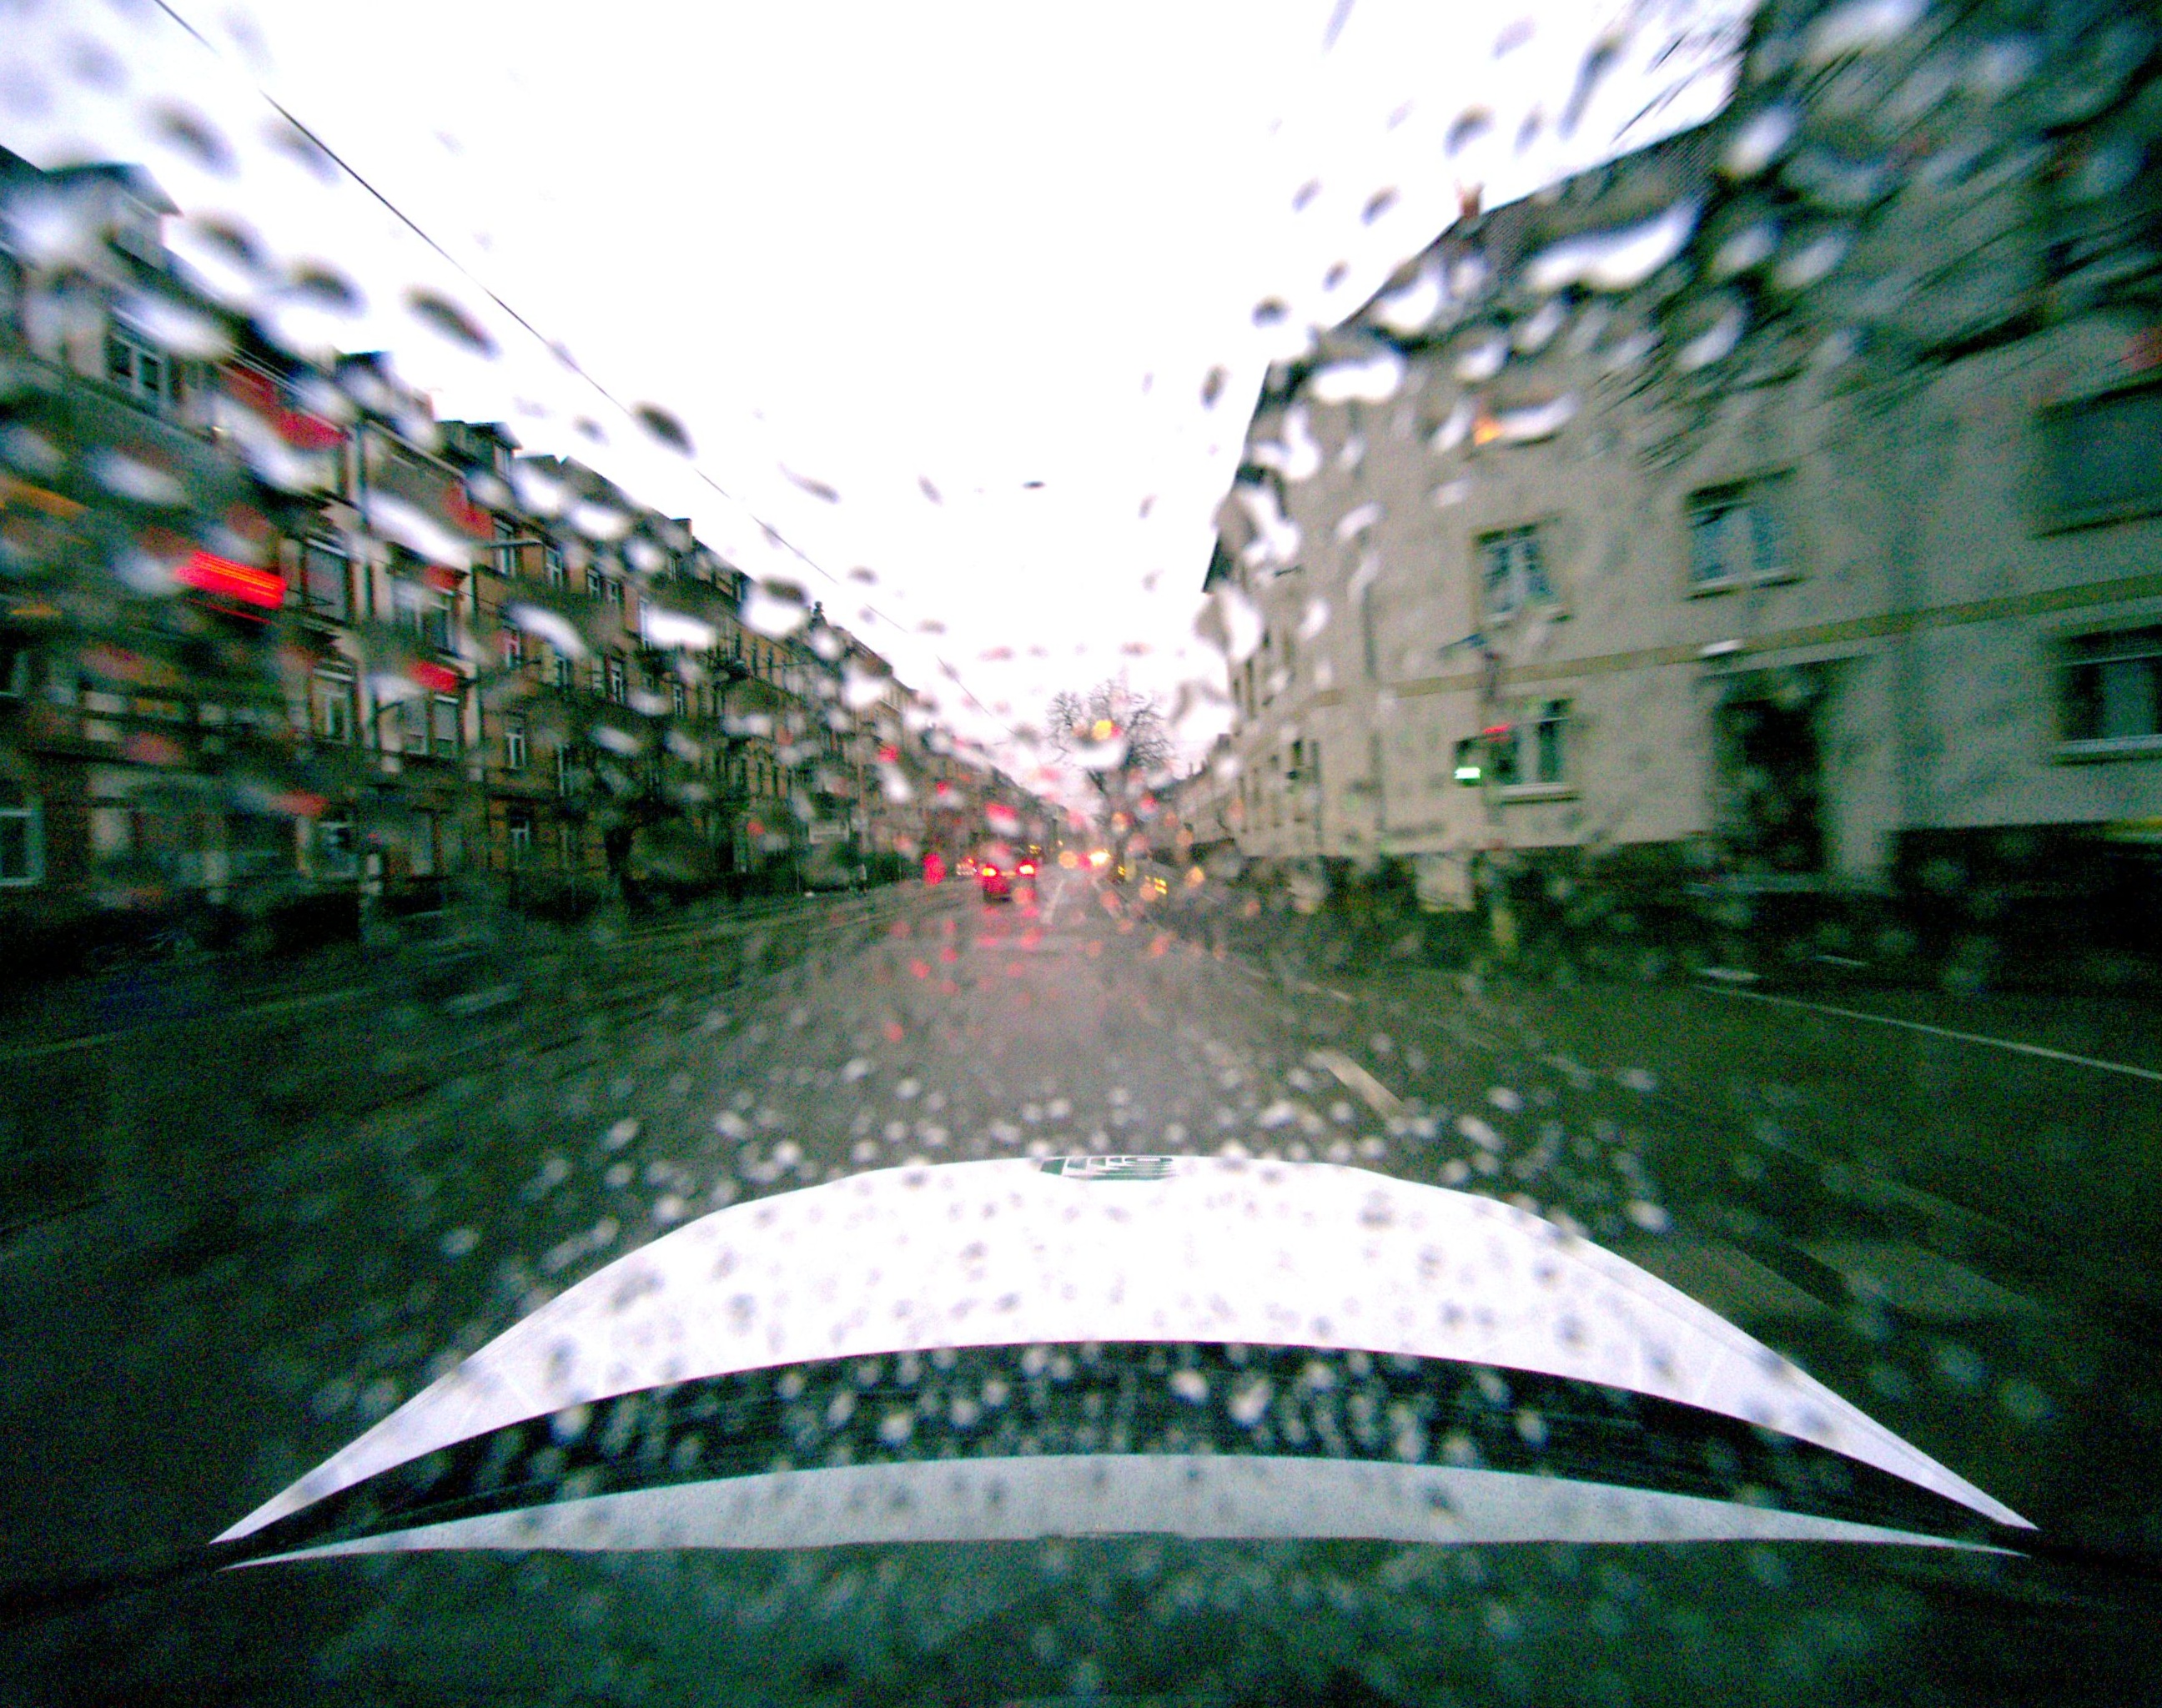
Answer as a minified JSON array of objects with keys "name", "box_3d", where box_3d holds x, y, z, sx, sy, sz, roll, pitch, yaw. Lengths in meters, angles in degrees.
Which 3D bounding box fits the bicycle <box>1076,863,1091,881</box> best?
[{"name":"bicycle","box_3d":[0.157,1.047,48.730,0.728,1.007,1.766,-3,0,4]}]

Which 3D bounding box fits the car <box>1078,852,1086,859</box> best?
[{"name":"car","box_3d":[0.185,0.364,230.091,1.916,1.720,4.003,-3,0,3]}]

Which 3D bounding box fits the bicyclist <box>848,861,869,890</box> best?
[{"name":"bicyclist","box_3d":[-11.070,1.065,40.608,0.701,1.364,0.945,-1,0,5]}]

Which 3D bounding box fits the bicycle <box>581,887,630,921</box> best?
[{"name":"bicycle","box_3d":[-15.975,1.677,27.399,0.414,1.007,1.851,-3,0,4]}]

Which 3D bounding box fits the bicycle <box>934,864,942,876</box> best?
[{"name":"bicycle","box_3d":[-12.399,1.374,70.425,0.262,0.915,1.687,3,0,3]}]

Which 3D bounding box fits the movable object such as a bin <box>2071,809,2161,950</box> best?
[{"name":"movable object such as a bin","box_3d":[9.729,0.224,7.423,0.525,1.251,0.844,0,0,-45]}]

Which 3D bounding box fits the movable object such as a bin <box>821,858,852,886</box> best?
[{"name":"movable object such as a bin","box_3d":[-14.320,1.038,47.798,1.237,1.585,1.310,-2,0,8]}]

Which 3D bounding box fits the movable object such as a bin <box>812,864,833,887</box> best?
[{"name":"movable object such as a bin","box_3d":[-14.861,1.230,46.879,0.892,1.292,0.746,-3,0,0]}]

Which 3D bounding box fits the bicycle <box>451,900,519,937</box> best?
[{"name":"bicycle","box_3d":[-16.486,1.778,22.583,0.398,0.862,1.851,-3,0,4]}]

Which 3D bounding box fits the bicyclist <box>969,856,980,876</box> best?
[{"name":"bicyclist","box_3d":[-8.934,0.996,68.462,0.681,1.616,0.766,-3,0,4]}]

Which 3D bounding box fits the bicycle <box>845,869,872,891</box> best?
[{"name":"bicycle","box_3d":[-11.061,1.301,40.551,0.678,1.007,1.806,-3,0,6]}]

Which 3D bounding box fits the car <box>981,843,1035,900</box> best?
[{"name":"car","box_3d":[-2.640,0.577,29.399,1.799,1.871,4.010,0,0,-6]}]

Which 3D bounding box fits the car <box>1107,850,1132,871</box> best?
[{"name":"car","box_3d":[2.959,0.471,62.739,1.778,1.509,3.990,-3,0,2]}]

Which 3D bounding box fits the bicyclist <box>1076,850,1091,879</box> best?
[{"name":"bicyclist","box_3d":[0.143,0.628,48.774,0.727,1.736,0.766,-3,0,4]}]

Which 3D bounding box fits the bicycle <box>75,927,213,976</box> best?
[{"name":"bicycle","box_3d":[-19.158,1.976,16.696,0.395,0.759,1.823,-3,0,39]}]
